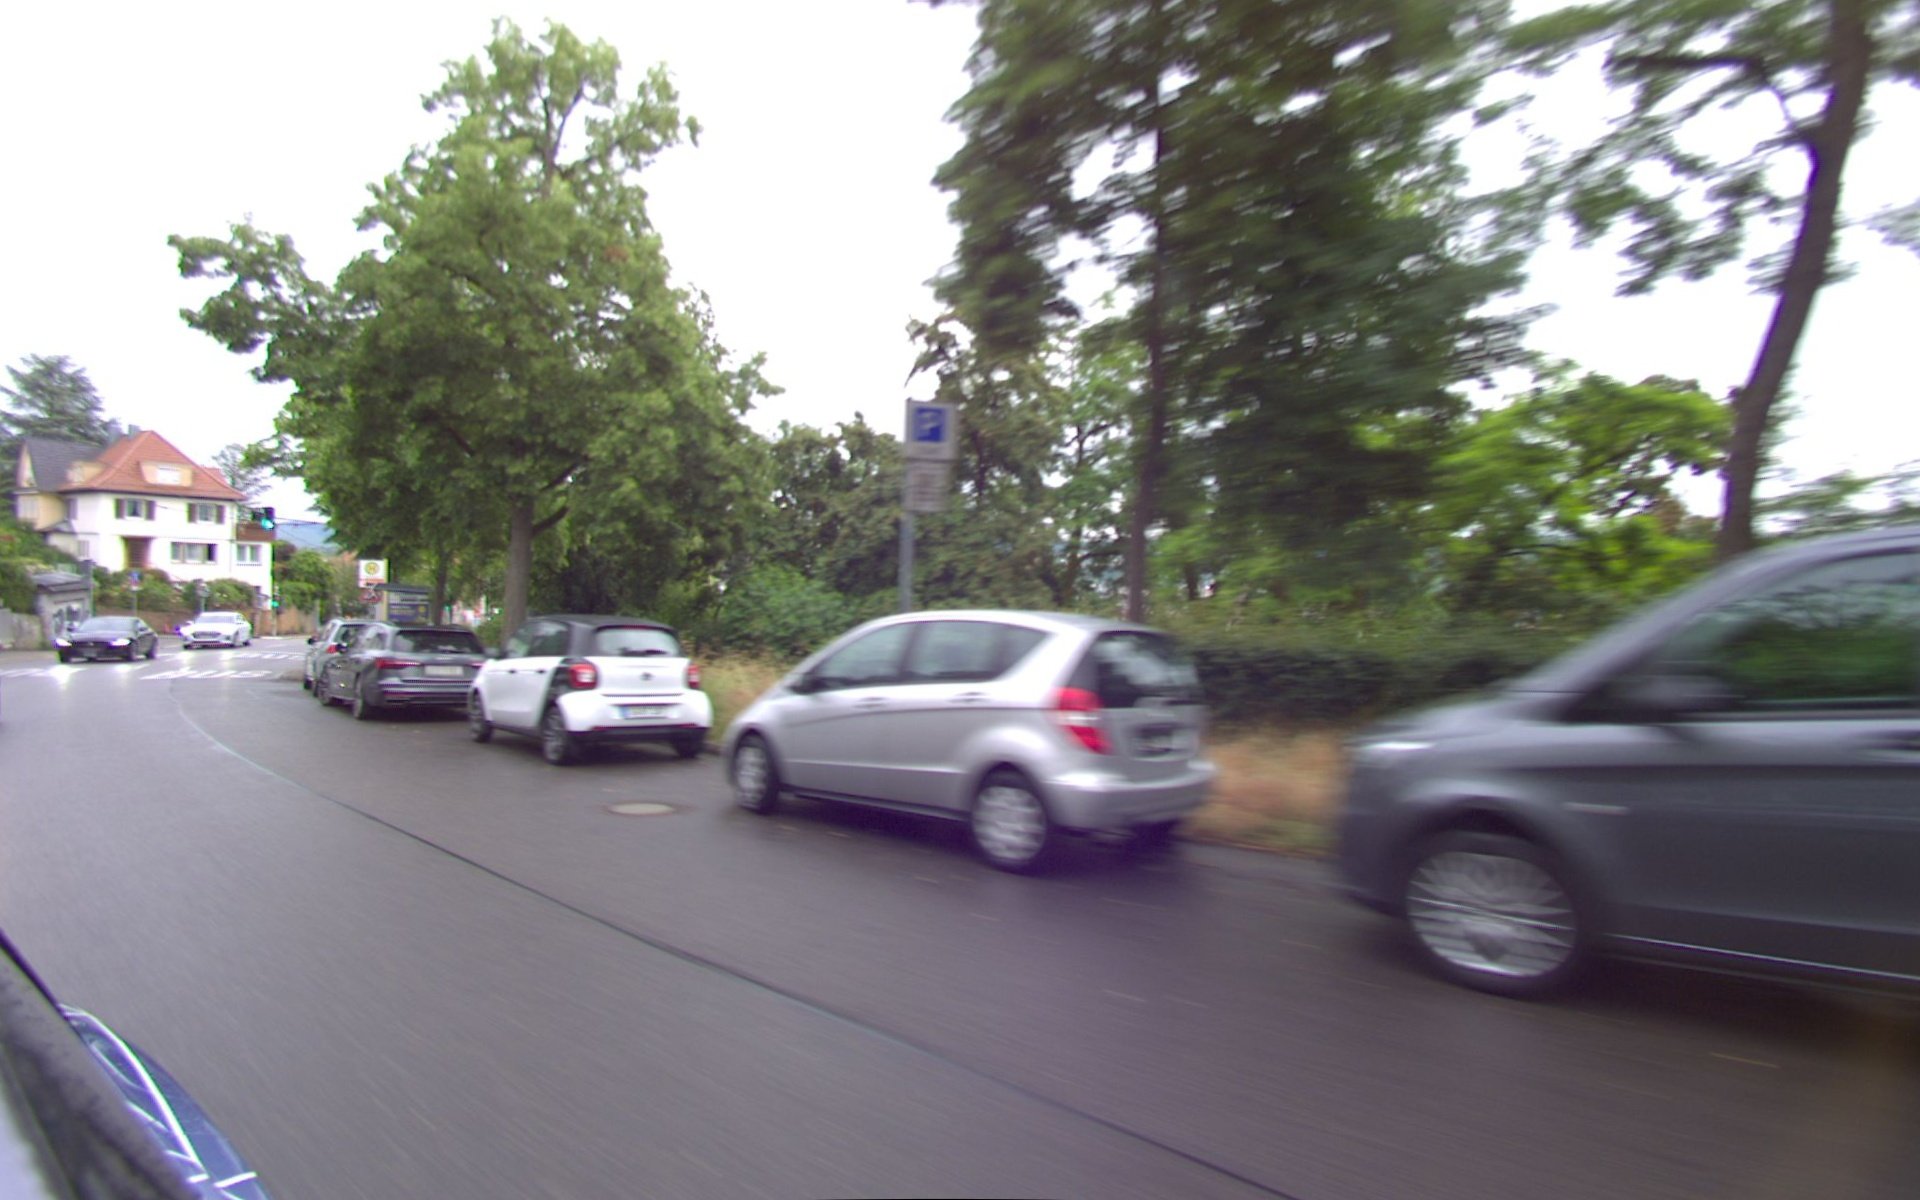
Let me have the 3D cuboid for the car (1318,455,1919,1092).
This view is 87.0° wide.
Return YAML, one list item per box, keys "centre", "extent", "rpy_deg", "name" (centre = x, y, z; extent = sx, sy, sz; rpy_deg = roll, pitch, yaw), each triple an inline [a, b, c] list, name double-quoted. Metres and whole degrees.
- centre: [4.082, 0.549, 3.493]
  extent: [5.000, 1.983, 1.933]
  rpy_deg: [-2, -3, 42]
  name: "car"

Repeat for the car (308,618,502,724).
- centre: [-8.750, 1.030, 15.764]
  extent: [1.663, 1.391, 4.507]
  rpy_deg: [5, -4, -41]
  name: "car"

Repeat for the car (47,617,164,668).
- centre: [-27.174, 1.293, 32.349]
  extent: [1.997, 1.474, 4.013]
  rpy_deg: [0, -1, -27]
  name: "car"

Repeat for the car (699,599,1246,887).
- centre: [-0.058, 0.825, 7.387]
  extent: [3.764, 1.564, 1.666]
  rpy_deg: [0, -4, 40]
  name: "car"

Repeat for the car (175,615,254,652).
- centre: [-34.265, 1.518, 46.638]
  extent: [1.997, 1.641, 4.242]
  rpy_deg: [0, -1, -24]
  name: "car"

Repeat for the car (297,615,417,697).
- centre: [-12.038, 1.107, 20.080]
  extent: [1.633, 1.441, 4.385]
  rpy_deg: [3, -4, -36]
  name: "car"

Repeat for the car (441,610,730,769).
- centre: [-4.512, 0.924, 11.834]
  extent: [1.663, 1.521, 4.211]
  rpy_deg: [5, -4, -42]
  name: "car"
